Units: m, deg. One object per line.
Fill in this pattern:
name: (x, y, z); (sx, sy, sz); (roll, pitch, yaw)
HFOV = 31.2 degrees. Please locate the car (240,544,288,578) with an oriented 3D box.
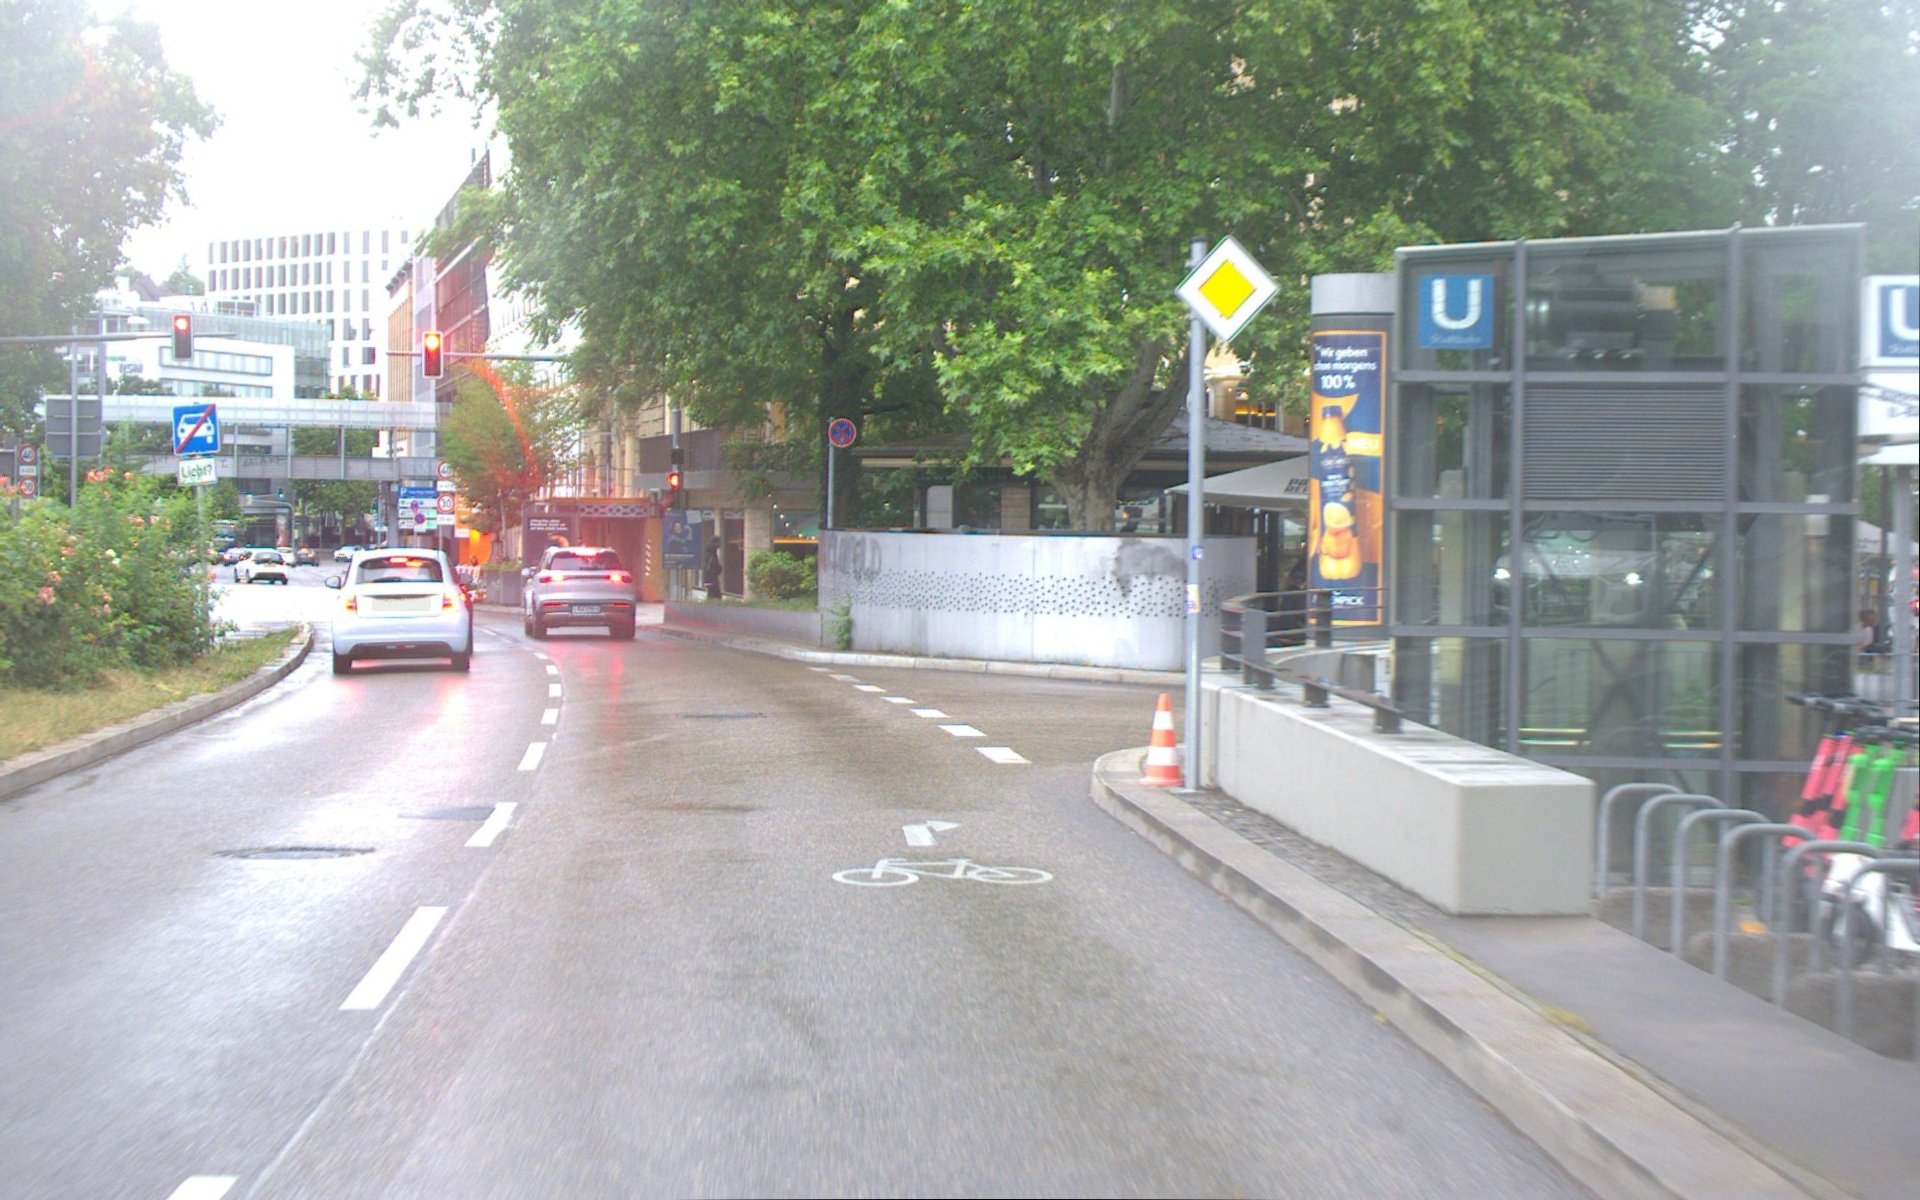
car: (-30.485, -1.714, 150.487); (1.978, 1.458, 4.347); (-1, 1, -12)

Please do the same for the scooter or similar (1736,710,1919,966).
scooter or similar: (4.526, 1.195, 17.298); (1.112, 1.233, 0.365); (2, 1, -4)

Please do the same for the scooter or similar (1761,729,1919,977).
scooter or similar: (4.552, 1.238, 16.811); (1.112, 1.154, 0.443); (2, 1, -4)

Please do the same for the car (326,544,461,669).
car: (-7.142, 0.054, 43.425); (1.590, 1.486, 3.506); (-1, 1, -9)

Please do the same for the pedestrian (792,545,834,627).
pedestrian: (-3.209, -0.303, 75.103); (0.859, 1.774, 0.718); (1, 0, -6)

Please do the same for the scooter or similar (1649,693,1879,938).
scooter or similar: (4.350, 1.162, 18.618); (1.112, 1.265, 0.365); (2, 1, -4)

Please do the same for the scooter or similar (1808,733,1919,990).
scooter or similar: (4.671, 1.241, 16.302); (1.112, 1.154, 0.532); (2, 1, -4)

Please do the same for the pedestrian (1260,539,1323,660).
pedestrian: (4.675, -0.010, 48.466); (0.723, 1.696, 0.618); (1, 0, 22)

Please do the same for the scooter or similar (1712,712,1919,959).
scooter or similar: (4.491, 1.208, 17.686); (1.112, 1.212, 0.365); (2, 1, -4)

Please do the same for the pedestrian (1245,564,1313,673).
pedestrian: (4.251, 0.241, 45.830); (0.684, 1.405, 0.905); (3, 0, -5)

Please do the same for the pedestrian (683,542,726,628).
pedestrian: (-5.349, -0.311, 71.896); (0.859, 1.774, 0.718); (1, 0, -6)

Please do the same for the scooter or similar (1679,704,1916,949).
scooter or similar: (4.409, 1.188, 18.112); (1.112, 1.230, 0.365); (2, 1, -4)

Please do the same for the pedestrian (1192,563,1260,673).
pedestrian: (3.536, 0.234, 45.732); (0.684, 1.405, 0.905); (3, 0, -5)

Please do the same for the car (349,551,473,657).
car: (-8.058, 0.027, 50.474); (1.691, 1.458, 4.131); (-1, 1, -9)

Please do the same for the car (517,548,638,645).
car: (-6.969, -0.075, 62.344); (1.946, 1.660, 4.346); (1, 0, -9)

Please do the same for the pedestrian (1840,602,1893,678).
pedestrian: (15.221, 0.667, 57.717); (0.628, 1.246, 0.609); (3, 0, -5)
